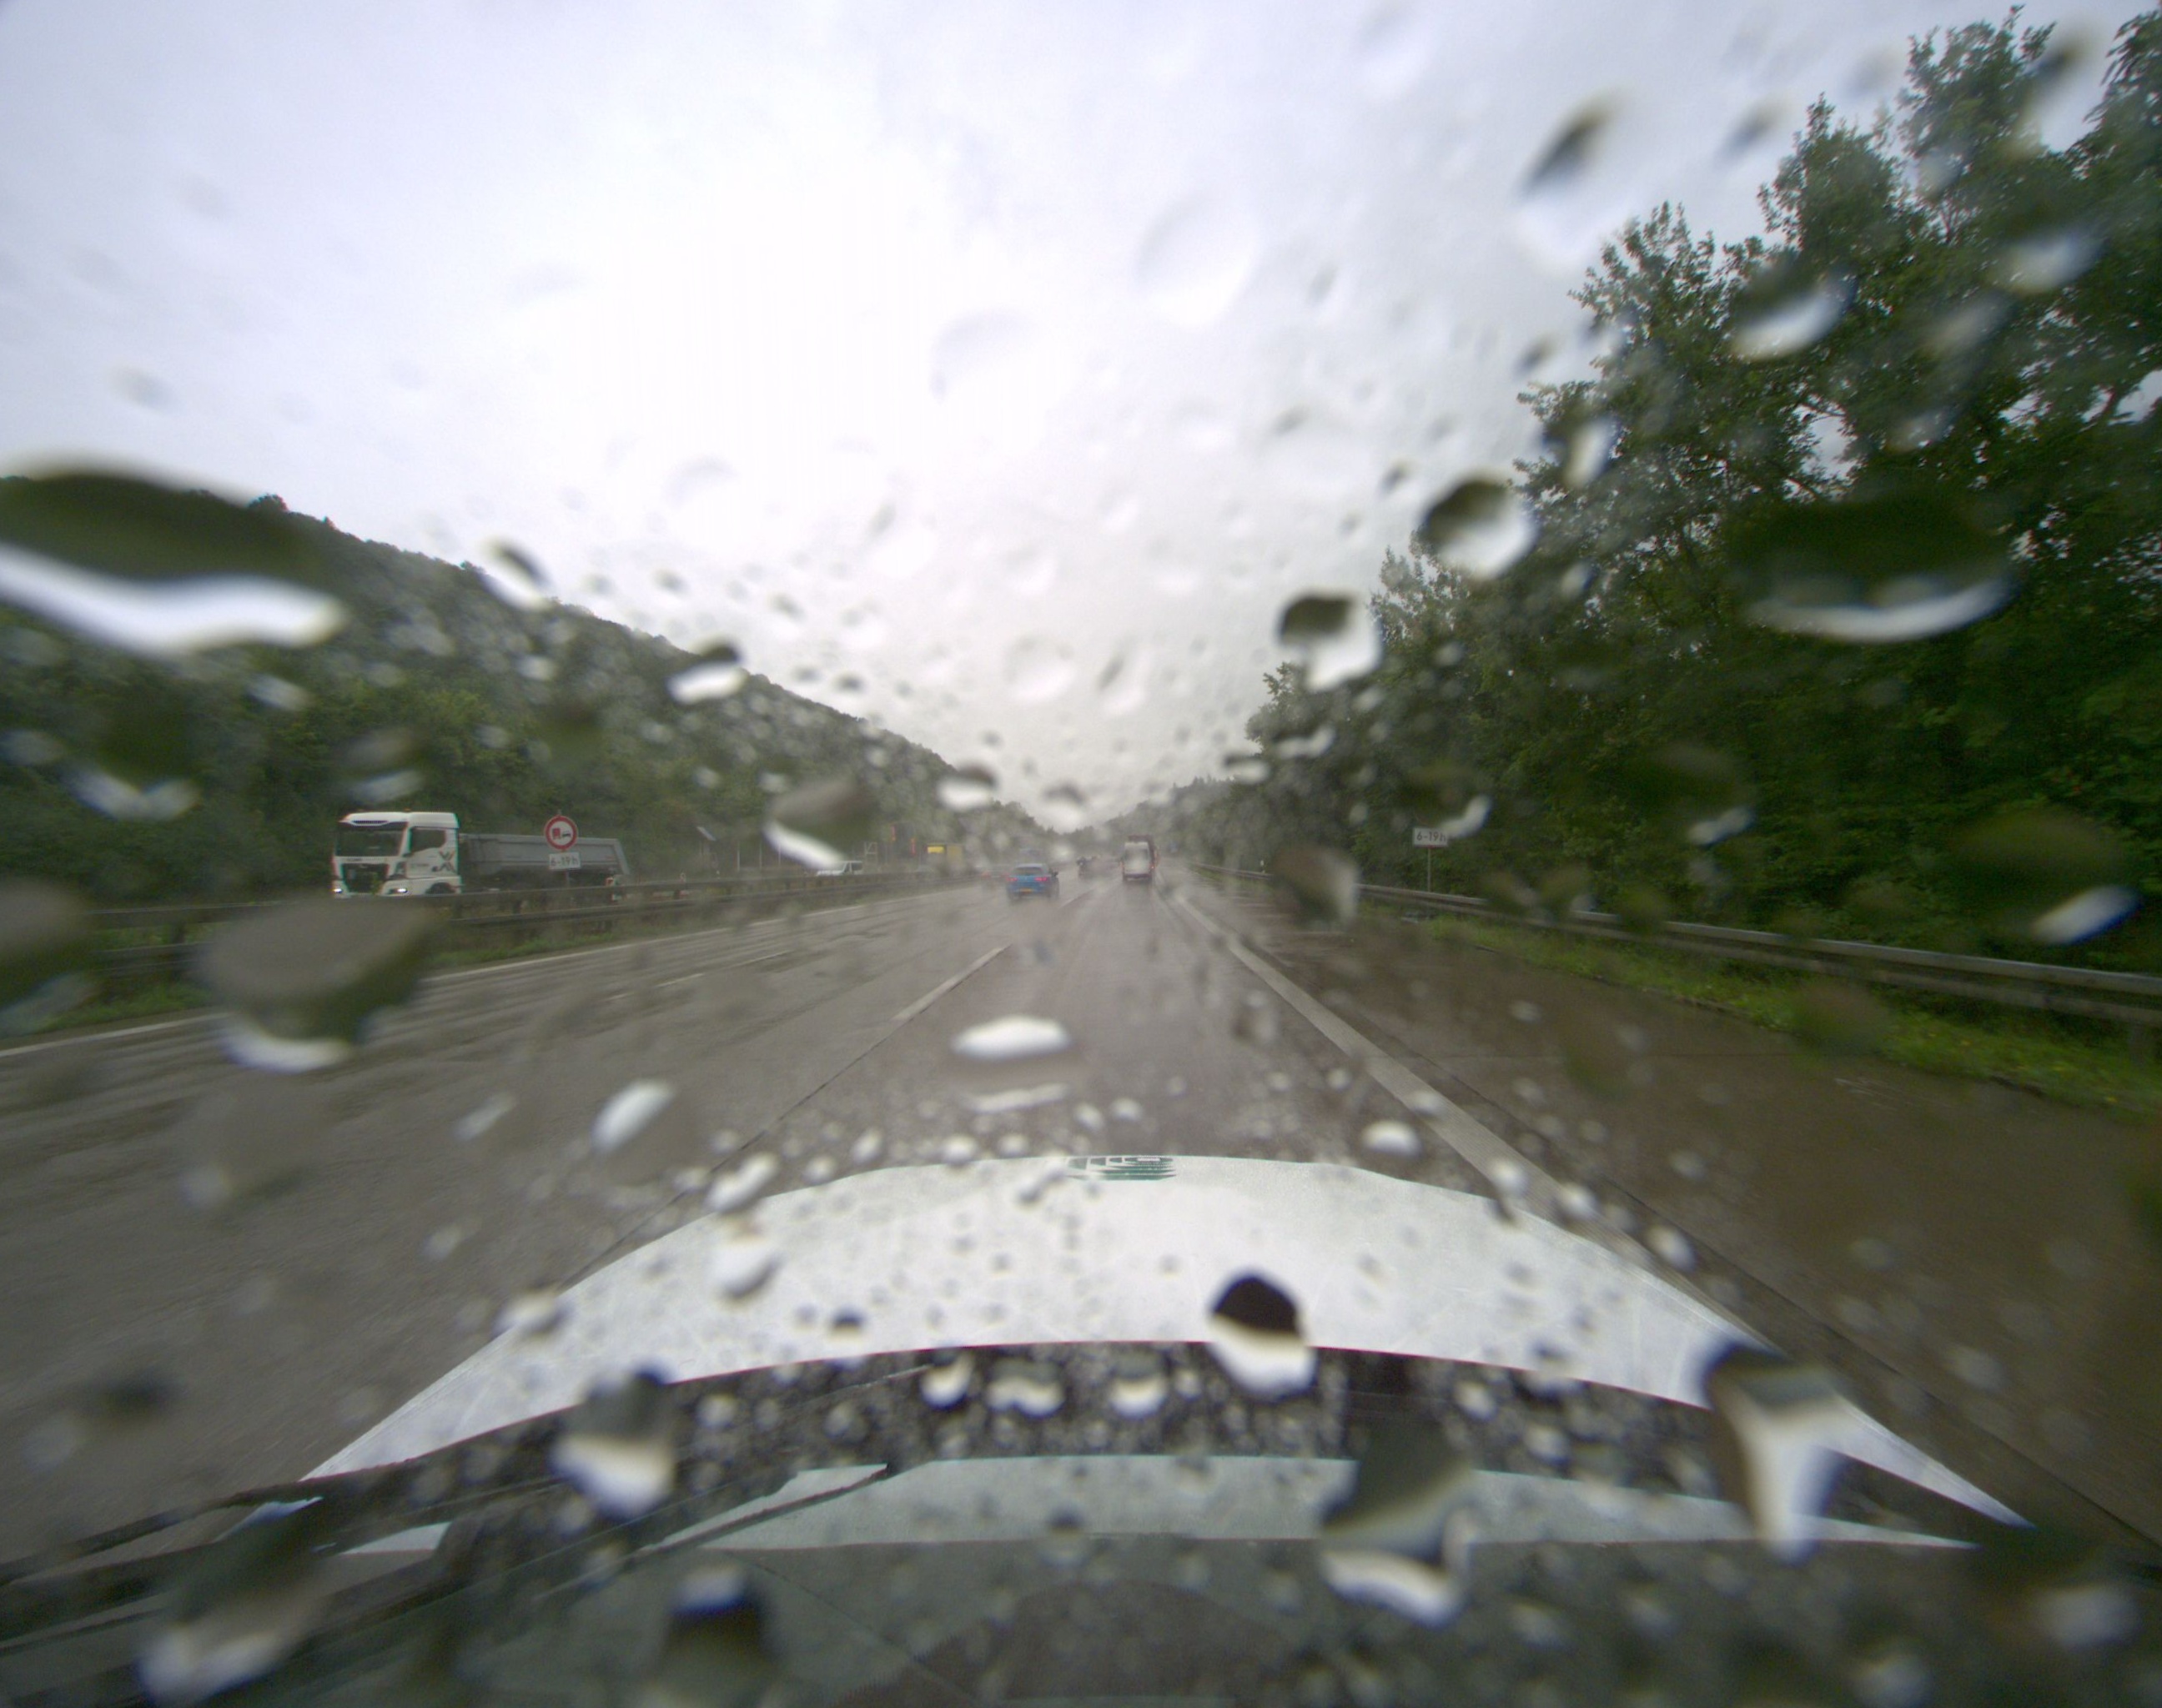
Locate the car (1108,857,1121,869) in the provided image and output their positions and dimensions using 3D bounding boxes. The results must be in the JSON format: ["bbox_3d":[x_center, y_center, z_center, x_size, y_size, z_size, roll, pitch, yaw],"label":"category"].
[{"bbox_3d":[4.638,1.197,112.058,1.607,1.628,4.193,-1,0,4],"label":"car"}]

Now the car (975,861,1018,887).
[{"bbox_3d":[-4.759,1.112,46.562,1.849,1.339,4.353,-1,0,2],"label":"car"}]

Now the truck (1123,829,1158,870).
[{"bbox_3d":[6.413,-0.616,86.886,3.369,3.967,8.679,-3,2,5],"label":"truck"}]

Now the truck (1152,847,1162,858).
[{"bbox_3d":[21.284,-0.546,228.137,2.574,2.981,9.035,-1,0,4],"label":"truck"}]

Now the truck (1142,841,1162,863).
[{"bbox_3d":[13.366,-0.286,152.731,3.073,3.910,9.074,-1,0,8],"label":"truck"}]

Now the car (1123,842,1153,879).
[{"bbox_3d":[3.908,0.415,55.352,1.891,2.334,5.256,-1,0,4],"label":"car"}]

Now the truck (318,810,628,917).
[{"bbox_3d":[-22.289,0.302,31.313,2.762,3.315,11.525,-1,0,3],"label":"truck"}]

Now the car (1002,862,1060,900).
[{"bbox_3d":[-1.915,1.017,32.458,1.849,1.339,4.353,-1,0,2],"label":"car"}]

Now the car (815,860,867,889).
[{"bbox_3d":[-17.318,1.436,59.016,1.969,2.014,5.202,-1,0,3],"label":"car"}]

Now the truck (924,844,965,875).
[{"bbox_3d":[-16.734,0.642,100.286,2.573,3.700,9.812,-1,0,4],"label":"truck"}]

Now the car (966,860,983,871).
[{"bbox_3d":[-16.985,1.863,130.420,1.986,1.662,4.002,-2,0,2],"label":"car"}]

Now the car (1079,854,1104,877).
[{"bbox_3d":[0.940,0.964,69.530,1.860,1.810,4.193,-1,0,4],"label":"car"}]
